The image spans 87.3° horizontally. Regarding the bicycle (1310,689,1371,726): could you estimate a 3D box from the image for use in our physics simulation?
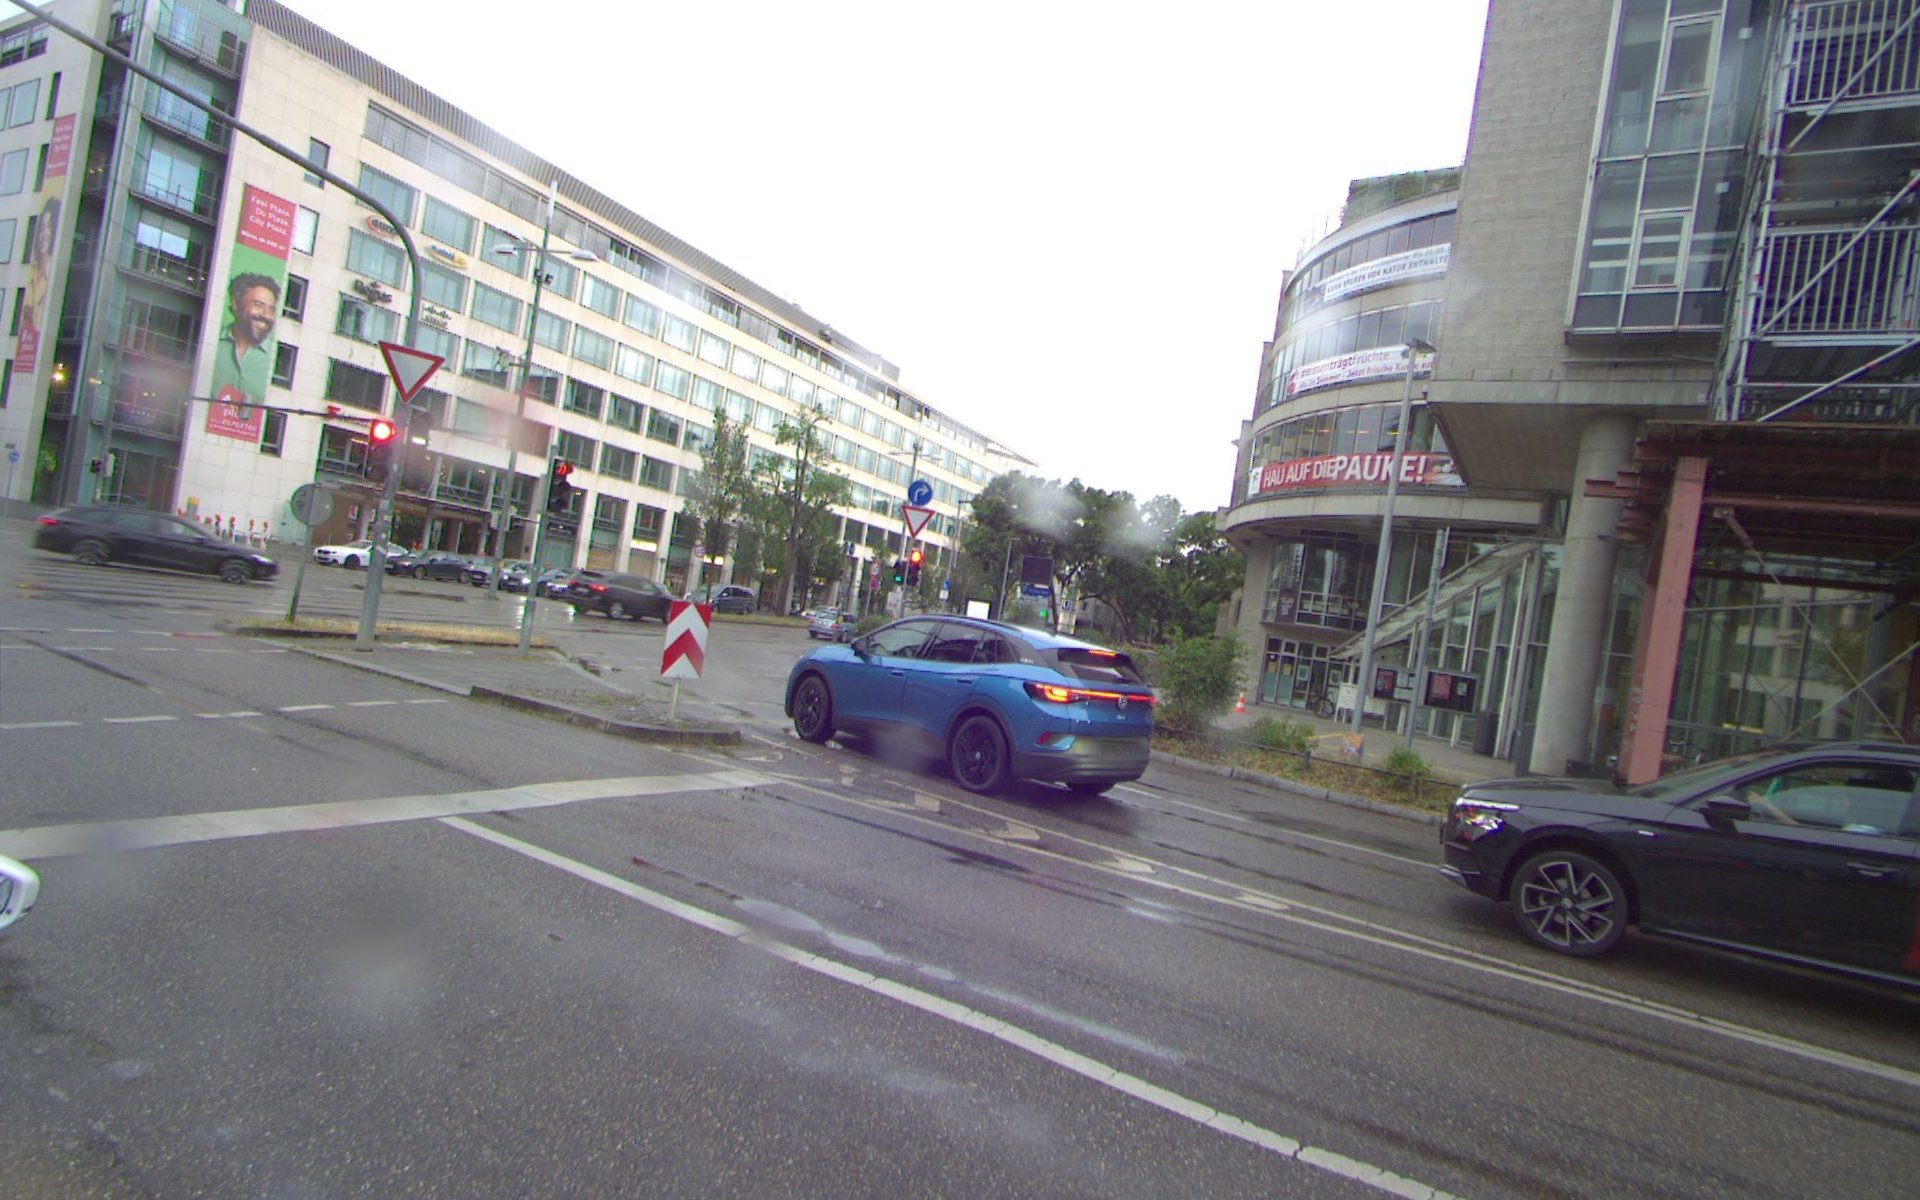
[{"bbox_3d":[13.440,3.797,35.612,1.816,0.995,0.757,8,-1,12],"label":"bicycle"}]

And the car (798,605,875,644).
[{"bbox_3d":[-5.894,1.203,48.519,1.962,1.504,4.466,8,0,16],"label":"car"}]

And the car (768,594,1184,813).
[{"bbox_3d":[-0.040,0.951,10.598,1.699,1.547,4.373,9,-2,-43],"label":"car"}]

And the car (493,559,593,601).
[{"bbox_3d":[-19.261,-0.903,46.672,1.690,1.364,4.469,7,-2,17],"label":"car"}]

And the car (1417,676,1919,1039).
[{"bbox_3d":[5.246,1.555,6.187,4.080,1.558,1.780,7,-1,34],"label":"car"}]

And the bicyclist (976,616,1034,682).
[{"bbox_3d":[1.298,1.423,29.130,0.837,1.724,1.292,7,-1,44],"label":"bicyclist"}]

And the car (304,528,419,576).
[{"bbox_3d":[-28.623,-2.265,48.264,1.962,1.616,4.469,7,-1,17],"label":"car"}]

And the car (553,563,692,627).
[{"bbox_3d":[-11.797,-0.129,35.445,1.936,1.675,4.360,8,0,28],"label":"car"}]

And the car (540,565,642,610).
[{"bbox_3d":[-16.386,-0.510,44.892,1.690,1.481,4.468,7,-2,19],"label":"car"}]

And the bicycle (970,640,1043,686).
[{"bbox_3d":[1.369,1.843,29.258,0.837,1.116,2.142,7,-1,44],"label":"bicycle"}]

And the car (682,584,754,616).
[{"bbox_3d":[-14.371,0.043,60.070,1.891,1.364,4.654,7,-2,19],"label":"car"}]

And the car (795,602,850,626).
[{"bbox_3d":[-10.693,1.130,78.606,1.892,1.364,4.650,7,-2,25],"label":"car"}]

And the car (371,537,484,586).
[{"bbox_3d":[-25.181,-1.782,47.781,1.963,1.616,4.468,7,-1,20],"label":"car"}]

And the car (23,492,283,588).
[{"bbox_3d":[-19.014,-1.388,24.018,4.581,1.465,1.844,9,-1,-36],"label":"car"}]

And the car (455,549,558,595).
[{"bbox_3d":[-21.852,-1.321,48.707,1.962,1.616,4.469,7,-1,17],"label":"car"}]

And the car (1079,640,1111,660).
[{"bbox_3d":[12.975,4.785,96.310,1.963,1.603,4.001,7,-1,22],"label":"car"}]
